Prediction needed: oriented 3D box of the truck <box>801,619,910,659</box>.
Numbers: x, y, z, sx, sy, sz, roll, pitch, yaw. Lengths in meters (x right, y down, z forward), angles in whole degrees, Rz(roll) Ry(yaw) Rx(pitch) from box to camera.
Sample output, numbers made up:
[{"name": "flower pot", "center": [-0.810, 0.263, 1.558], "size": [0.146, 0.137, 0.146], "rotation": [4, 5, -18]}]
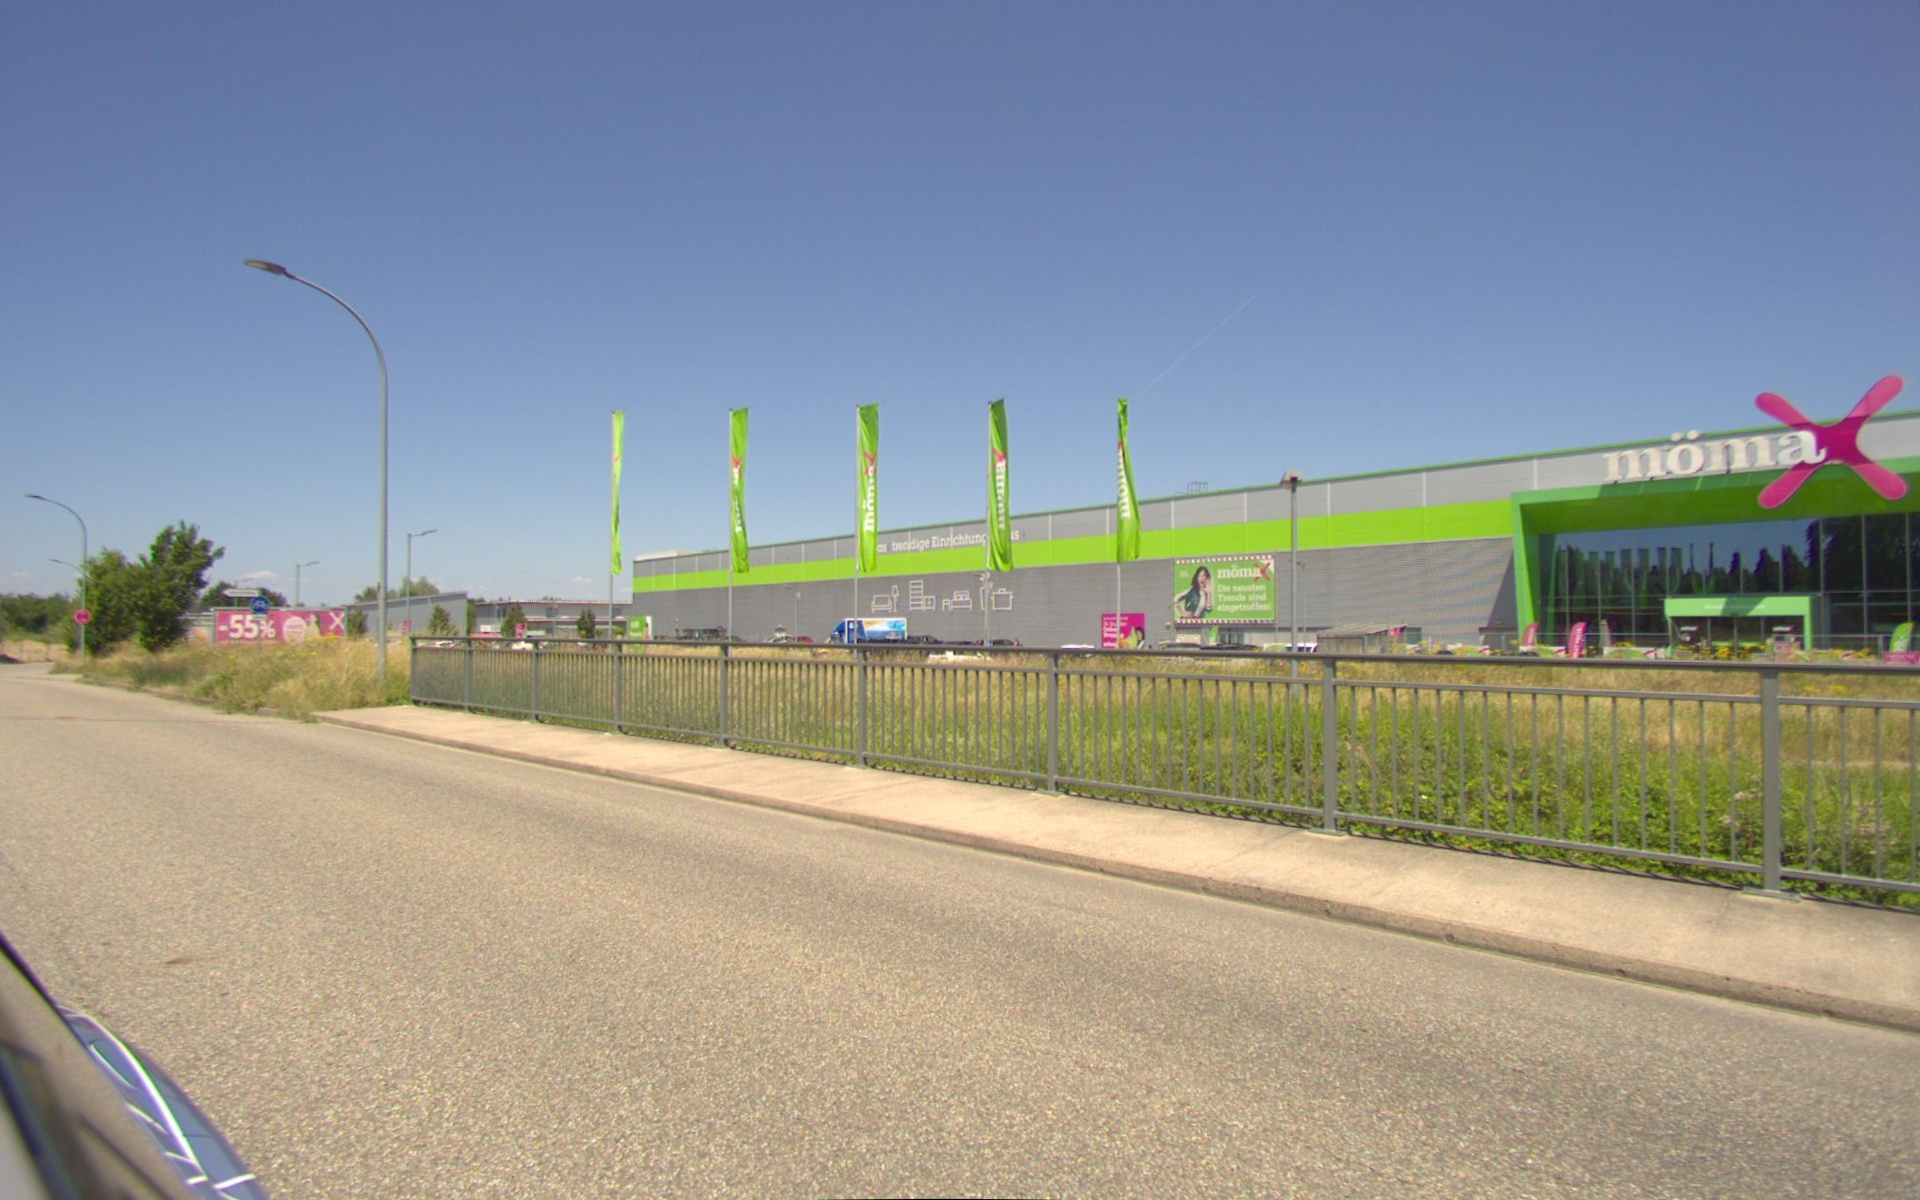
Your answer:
[{"name": "truck", "center": [-7.772, 2.872, 74.826], "size": [7.651, 2.704, 2.968], "rotation": [-2, -2, -10]}]

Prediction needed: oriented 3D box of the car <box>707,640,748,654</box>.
[{"name": "car", "center": [-26.013, 5.246, 113.309], "size": [3.939, 1.534, 2.002], "rotation": [1, -4, -43]}]

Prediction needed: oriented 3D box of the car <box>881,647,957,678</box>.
[{"name": "car", "center": [-2.294, 3.493, 57.236], "size": [2.001, 1.524, 3.942], "rotation": [-3, -2, 44]}]

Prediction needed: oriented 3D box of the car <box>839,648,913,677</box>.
[{"name": "car", "center": [-4.937, 3.657, 59.731], "size": [2.001, 1.478, 3.942], "rotation": [-3, -2, 44]}]

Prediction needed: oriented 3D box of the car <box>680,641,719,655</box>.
[{"name": "car", "center": [-30.162, 5.514, 117.248], "size": [3.939, 1.534, 2.002], "rotation": [1, -4, -43]}]

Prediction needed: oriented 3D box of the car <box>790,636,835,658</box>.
[{"name": "car", "center": [-14.813, 4.699, 101.700], "size": [3.941, 2.029, 2.001], "rotation": [-1, -2, -45]}]

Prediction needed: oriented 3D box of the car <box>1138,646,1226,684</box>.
[{"name": "car", "center": [9.921, 2.869, 45.083], "size": [2.001, 1.420, 3.942], "rotation": [-3, -2, 44]}]

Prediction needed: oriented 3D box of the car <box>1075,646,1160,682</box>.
[{"name": "car", "center": [7.404, 2.961, 47.331], "size": [2.001, 1.455, 3.942], "rotation": [-3, -2, 44]}]

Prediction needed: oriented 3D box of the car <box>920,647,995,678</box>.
[{"name": "car", "center": [-0.127, 3.411, 55.568], "size": [1.847, 1.448, 3.942], "rotation": [-3, -2, 44]}]

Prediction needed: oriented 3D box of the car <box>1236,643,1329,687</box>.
[{"name": "car", "center": [13.119, 2.616, 41.125], "size": [2.001, 1.524, 3.942], "rotation": [-3, -2, 44]}]

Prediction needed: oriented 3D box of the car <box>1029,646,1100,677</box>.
[{"name": "car", "center": [6.025, 3.480, 58.005], "size": [2.001, 1.524, 3.942], "rotation": [-3, -2, 44]}]

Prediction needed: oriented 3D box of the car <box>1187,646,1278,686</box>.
[{"name": "car", "center": [11.513, 2.739, 42.697], "size": [2.001, 1.427, 3.942], "rotation": [-3, -2, 44]}]

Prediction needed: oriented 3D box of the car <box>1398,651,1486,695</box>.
[{"name": "car", "center": [19.669, 2.942, 41.254], "size": [2.001, 1.524, 3.942], "rotation": [-3, -2, 44]}]

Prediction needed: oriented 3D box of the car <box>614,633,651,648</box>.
[{"name": "car", "center": [-40.949, 5.059, 126.636], "size": [3.940, 1.752, 2.002], "rotation": [-1, -1, -44]}]

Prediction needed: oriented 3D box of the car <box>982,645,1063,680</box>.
[{"name": "car", "center": [3.214, 3.182, 51.698], "size": [2.001, 1.524, 3.942], "rotation": [-3, -2, 44]}]

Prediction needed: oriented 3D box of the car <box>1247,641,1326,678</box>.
[{"name": "car", "center": [15.719, 2.836, 48.661], "size": [2.001, 1.524, 3.942], "rotation": [-3, -2, 44]}]

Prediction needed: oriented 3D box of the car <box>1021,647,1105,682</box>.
[{"name": "car", "center": [5.040, 3.089, 49.101], "size": [2.001, 1.441, 3.942], "rotation": [-3, -2, 44]}]

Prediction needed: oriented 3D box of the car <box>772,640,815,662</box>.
[{"name": "car", "center": [-16.943, 5.171, 102.943], "size": [3.940, 2.029, 1.912], "rotation": [-1, -2, -44]}]

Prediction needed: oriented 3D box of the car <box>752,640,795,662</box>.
[{"name": "car", "center": [-19.383, 5.289, 105.201], "size": [3.936, 2.029, 1.915], "rotation": [-1, -1, -38]}]
